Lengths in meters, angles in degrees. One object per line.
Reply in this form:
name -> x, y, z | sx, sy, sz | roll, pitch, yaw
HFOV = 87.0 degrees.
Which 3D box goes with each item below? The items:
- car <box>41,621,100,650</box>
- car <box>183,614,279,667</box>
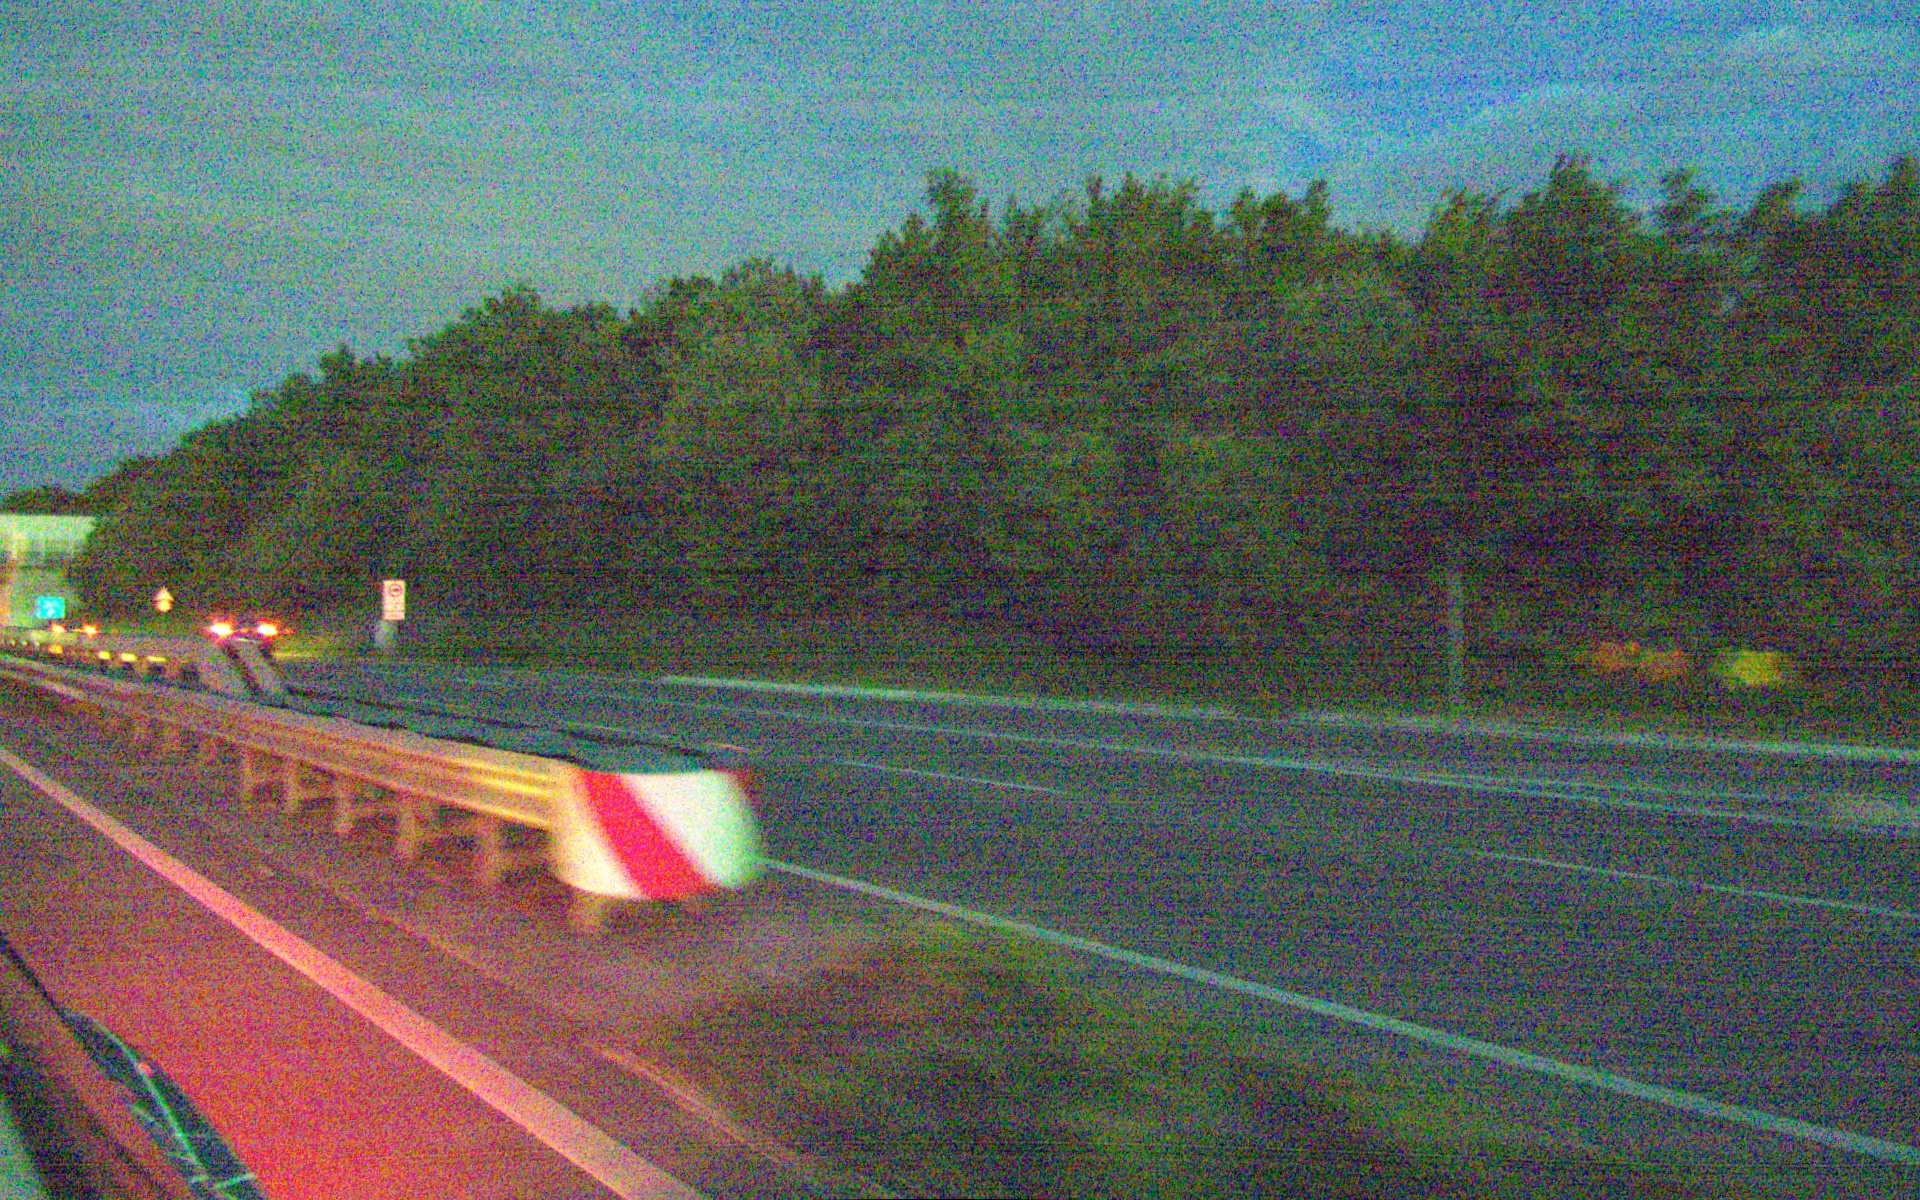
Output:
car -> -49.932, 1.967, 56.775 | 4.698, 1.498, 1.932 | -1, -3, 43
car -> -22.399, 1.220, 31.052 | 3.513, 1.531, 1.529 | -1, -3, 40
